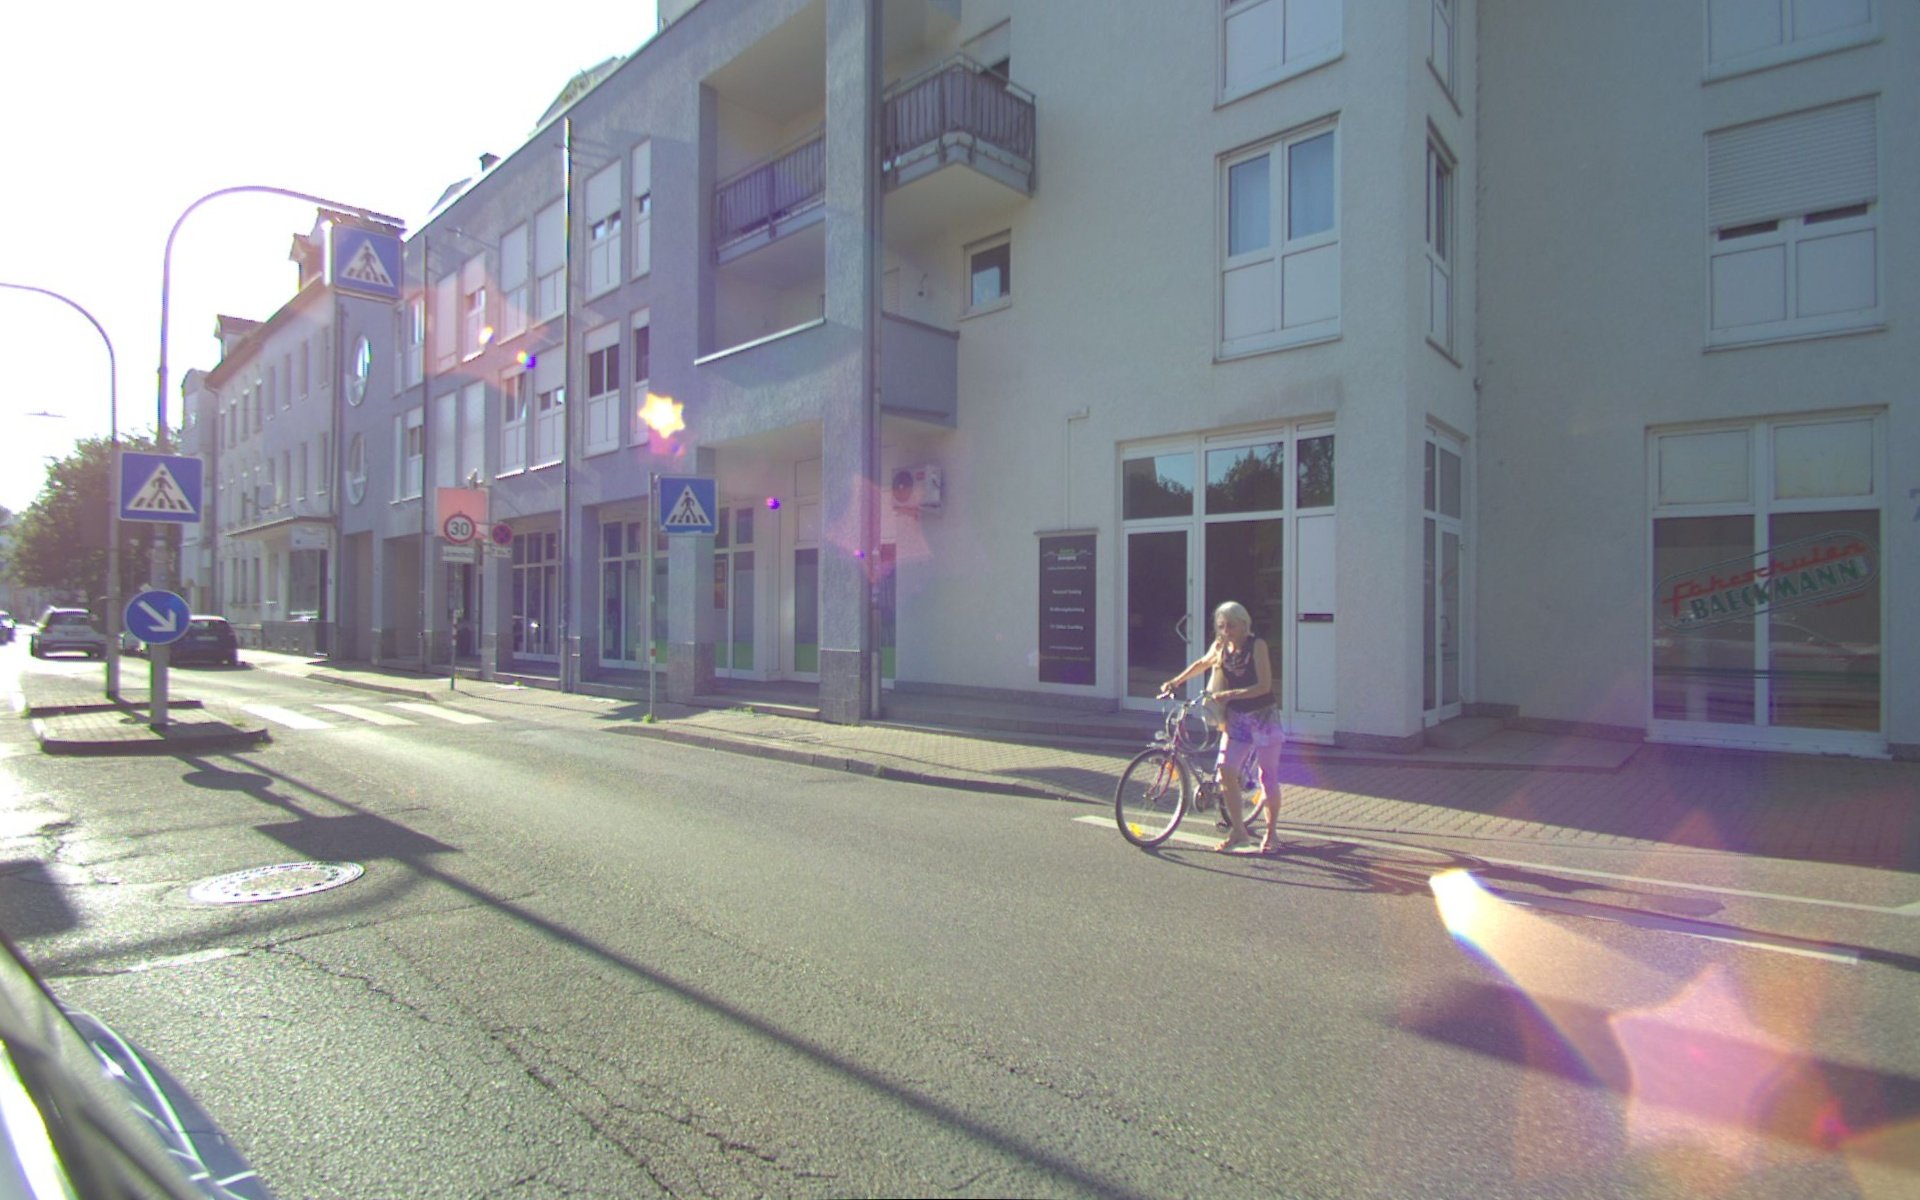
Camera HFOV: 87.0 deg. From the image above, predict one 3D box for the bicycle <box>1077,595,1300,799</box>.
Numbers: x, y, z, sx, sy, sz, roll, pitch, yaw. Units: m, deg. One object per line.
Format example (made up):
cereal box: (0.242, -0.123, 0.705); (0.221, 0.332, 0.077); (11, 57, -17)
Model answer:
bicycle: (1.574, 0.566, 6.781); (1.765, 1.193, 0.599); (0, 0, -44)

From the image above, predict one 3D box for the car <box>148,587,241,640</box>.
car: (-23.168, 0.393, 30.576); (3.961, 1.510, 1.711); (-1, 0, 45)

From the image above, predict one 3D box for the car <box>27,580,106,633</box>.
car: (-30.784, 0.232, 34.825); (1.786, 1.714, 4.195); (3, -2, -44)

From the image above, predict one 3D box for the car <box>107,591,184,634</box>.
car: (-30.934, 0.471, 38.386); (4.127, 1.507, 1.745); (0, -2, 44)

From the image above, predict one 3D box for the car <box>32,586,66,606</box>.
car: (-86.354, -0.374, 95.921); (5.101, 1.717, 1.911); (1, 3, 43)

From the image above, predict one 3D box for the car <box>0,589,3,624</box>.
car: (-45.904, 0.291, 47.139); (3.917, 1.590, 1.685); (1, 2, 44)

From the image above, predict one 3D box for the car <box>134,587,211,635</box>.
car: (-27.059, 0.354, 34.733); (1.641, 1.537, 3.811); (-1, 1, -45)

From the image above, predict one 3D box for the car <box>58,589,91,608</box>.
car: (-73.010, -0.142, 83.450); (4.001, 1.503, 1.678); (1, 1, 43)

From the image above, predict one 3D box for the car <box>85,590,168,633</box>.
car: (-34.839, 0.433, 42.255); (5.221, 1.660, 1.972); (0, 1, 43)

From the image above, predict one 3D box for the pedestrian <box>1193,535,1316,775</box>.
pedestrian: (1.939, 0.336, 6.664); (0.601, 1.483, 0.551); (0, 0, 42)
